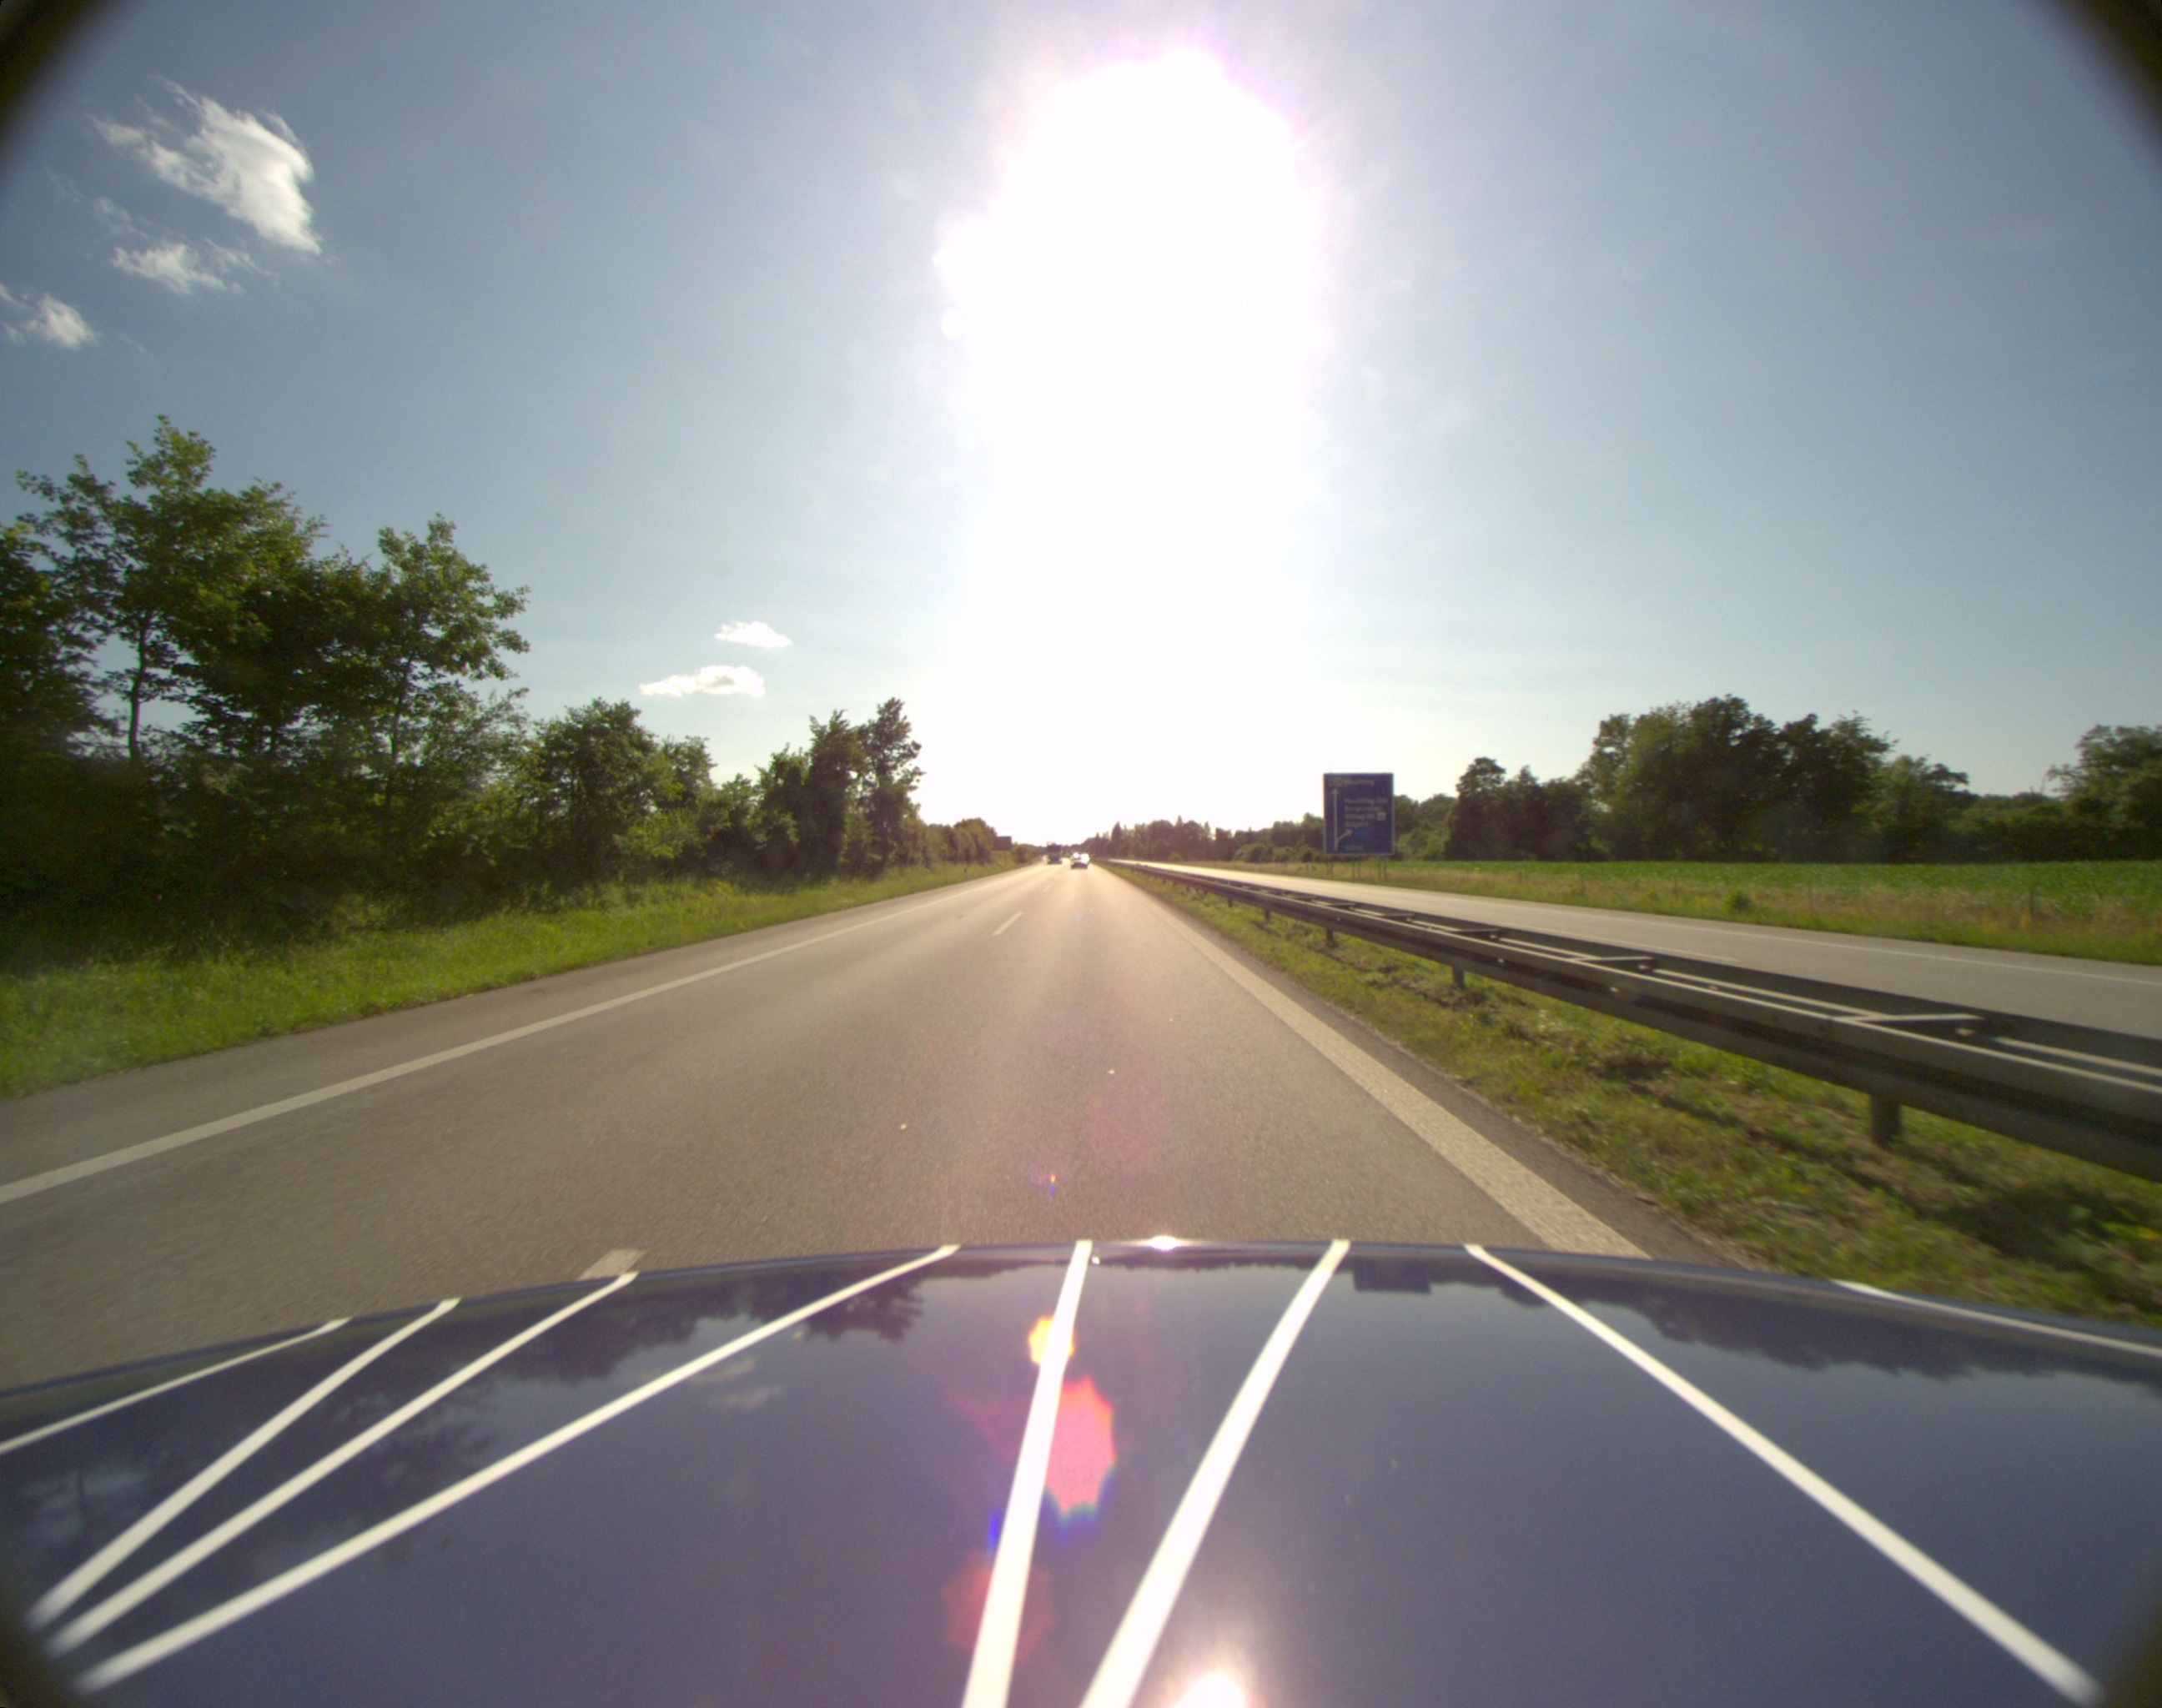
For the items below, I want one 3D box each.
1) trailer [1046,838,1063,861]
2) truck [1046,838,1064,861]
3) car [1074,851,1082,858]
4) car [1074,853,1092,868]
[{"bbox_3d":[-4.855,-0.815,138.148,2.826,3.943,14.155,0,0,-3],"label":"trailer"},{"bbox_3d":[-4.463,-0.722,131.403,2.848,3.943,7.041,0,0,-4],"label":"truck"},{"bbox_3d":[-0.697,0.180,180.716,1.742,1.514,3.999,-1,1,-1],"label":"car"},{"bbox_3d":[0.206,0.671,82.254,1.871,1.514,4.284,1,0,0],"label":"car"}]
